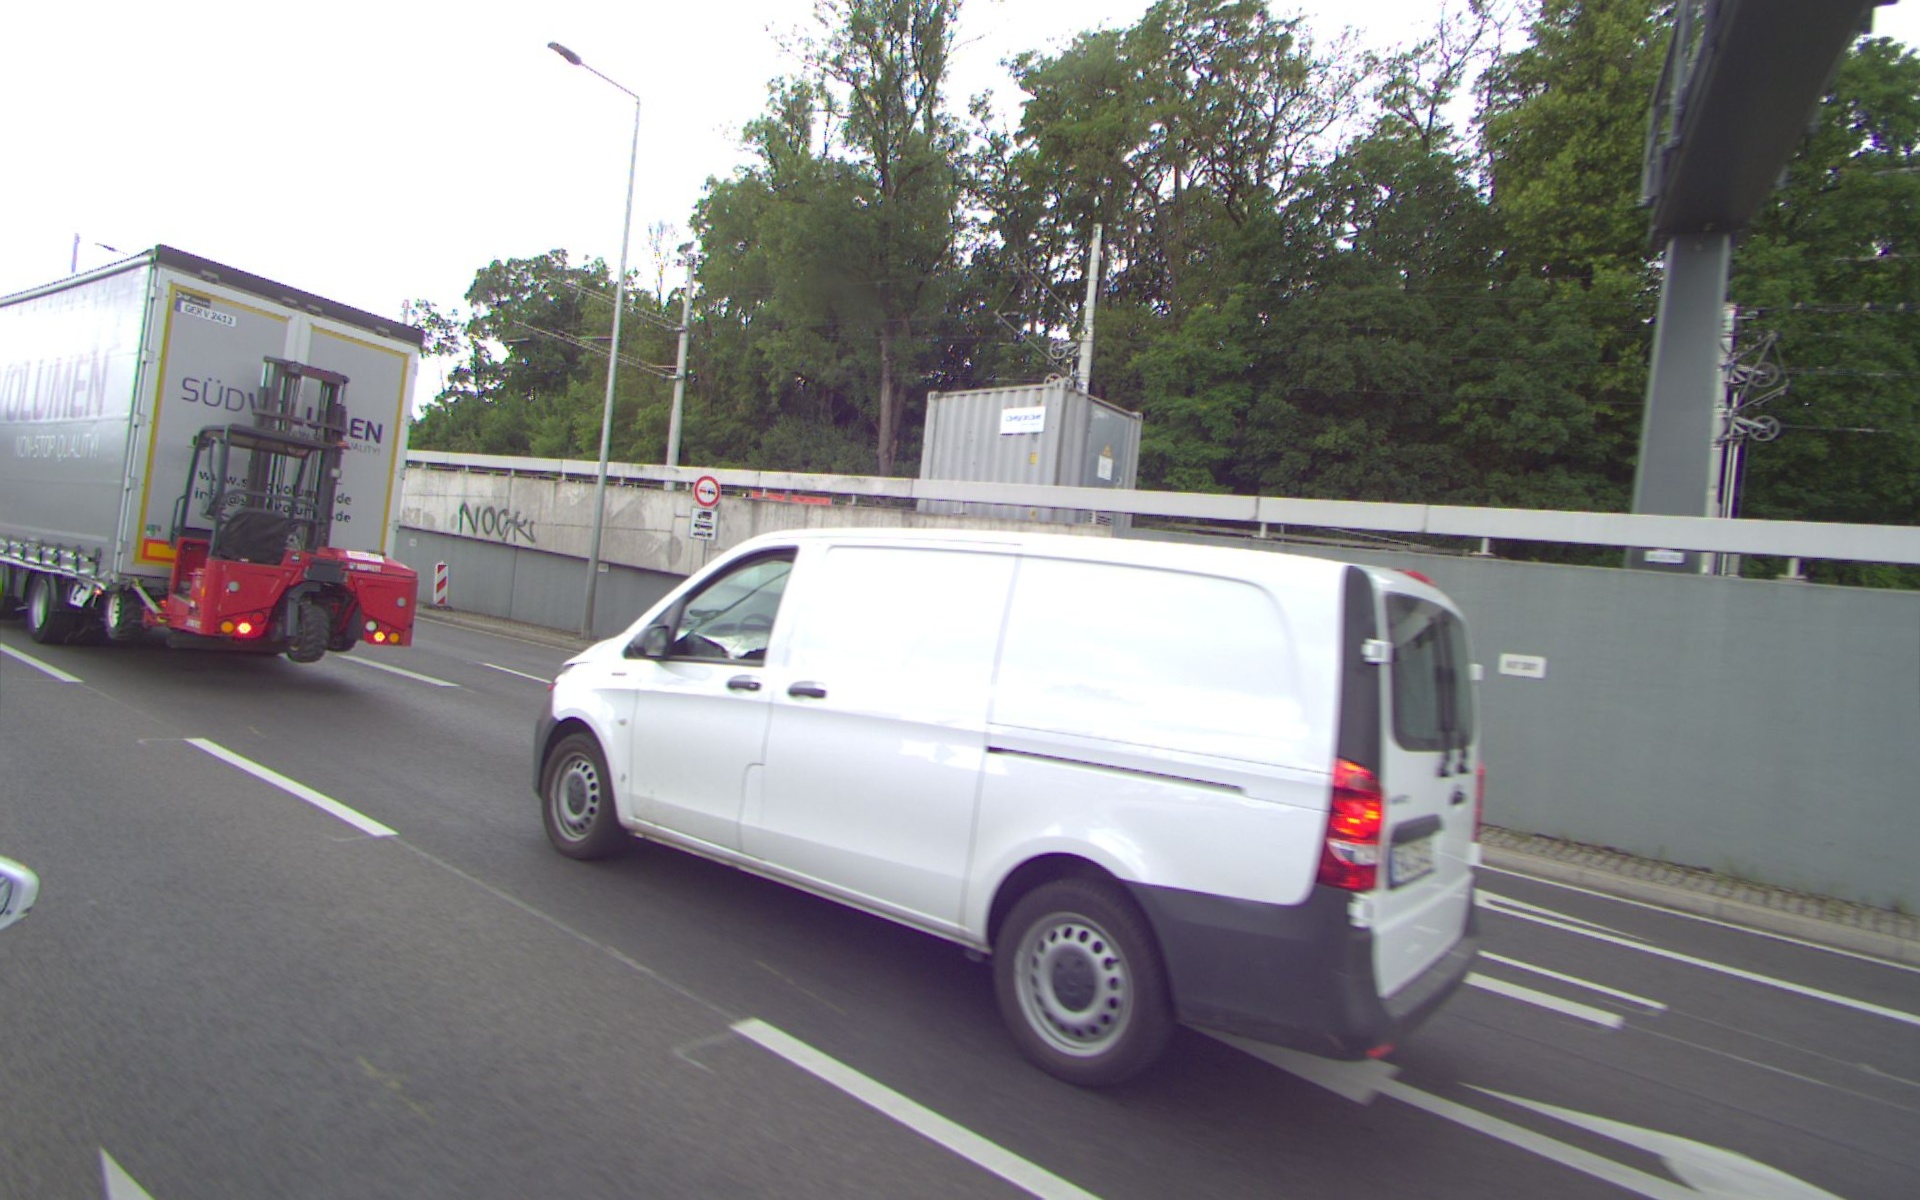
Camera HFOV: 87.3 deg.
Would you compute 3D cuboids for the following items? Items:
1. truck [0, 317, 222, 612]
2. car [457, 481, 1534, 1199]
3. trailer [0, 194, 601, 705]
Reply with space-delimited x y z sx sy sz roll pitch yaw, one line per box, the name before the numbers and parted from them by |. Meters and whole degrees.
truck | -18.574 -2.561 18.941 10.807 4.190 3.729 6 -2 34
car | -0.217 0.617 5.153 5.121 2.013 1.994 6 -2 37
trailer | -9.773 -1.574 12.932 10.809 4.190 3.729 6 -2 35
